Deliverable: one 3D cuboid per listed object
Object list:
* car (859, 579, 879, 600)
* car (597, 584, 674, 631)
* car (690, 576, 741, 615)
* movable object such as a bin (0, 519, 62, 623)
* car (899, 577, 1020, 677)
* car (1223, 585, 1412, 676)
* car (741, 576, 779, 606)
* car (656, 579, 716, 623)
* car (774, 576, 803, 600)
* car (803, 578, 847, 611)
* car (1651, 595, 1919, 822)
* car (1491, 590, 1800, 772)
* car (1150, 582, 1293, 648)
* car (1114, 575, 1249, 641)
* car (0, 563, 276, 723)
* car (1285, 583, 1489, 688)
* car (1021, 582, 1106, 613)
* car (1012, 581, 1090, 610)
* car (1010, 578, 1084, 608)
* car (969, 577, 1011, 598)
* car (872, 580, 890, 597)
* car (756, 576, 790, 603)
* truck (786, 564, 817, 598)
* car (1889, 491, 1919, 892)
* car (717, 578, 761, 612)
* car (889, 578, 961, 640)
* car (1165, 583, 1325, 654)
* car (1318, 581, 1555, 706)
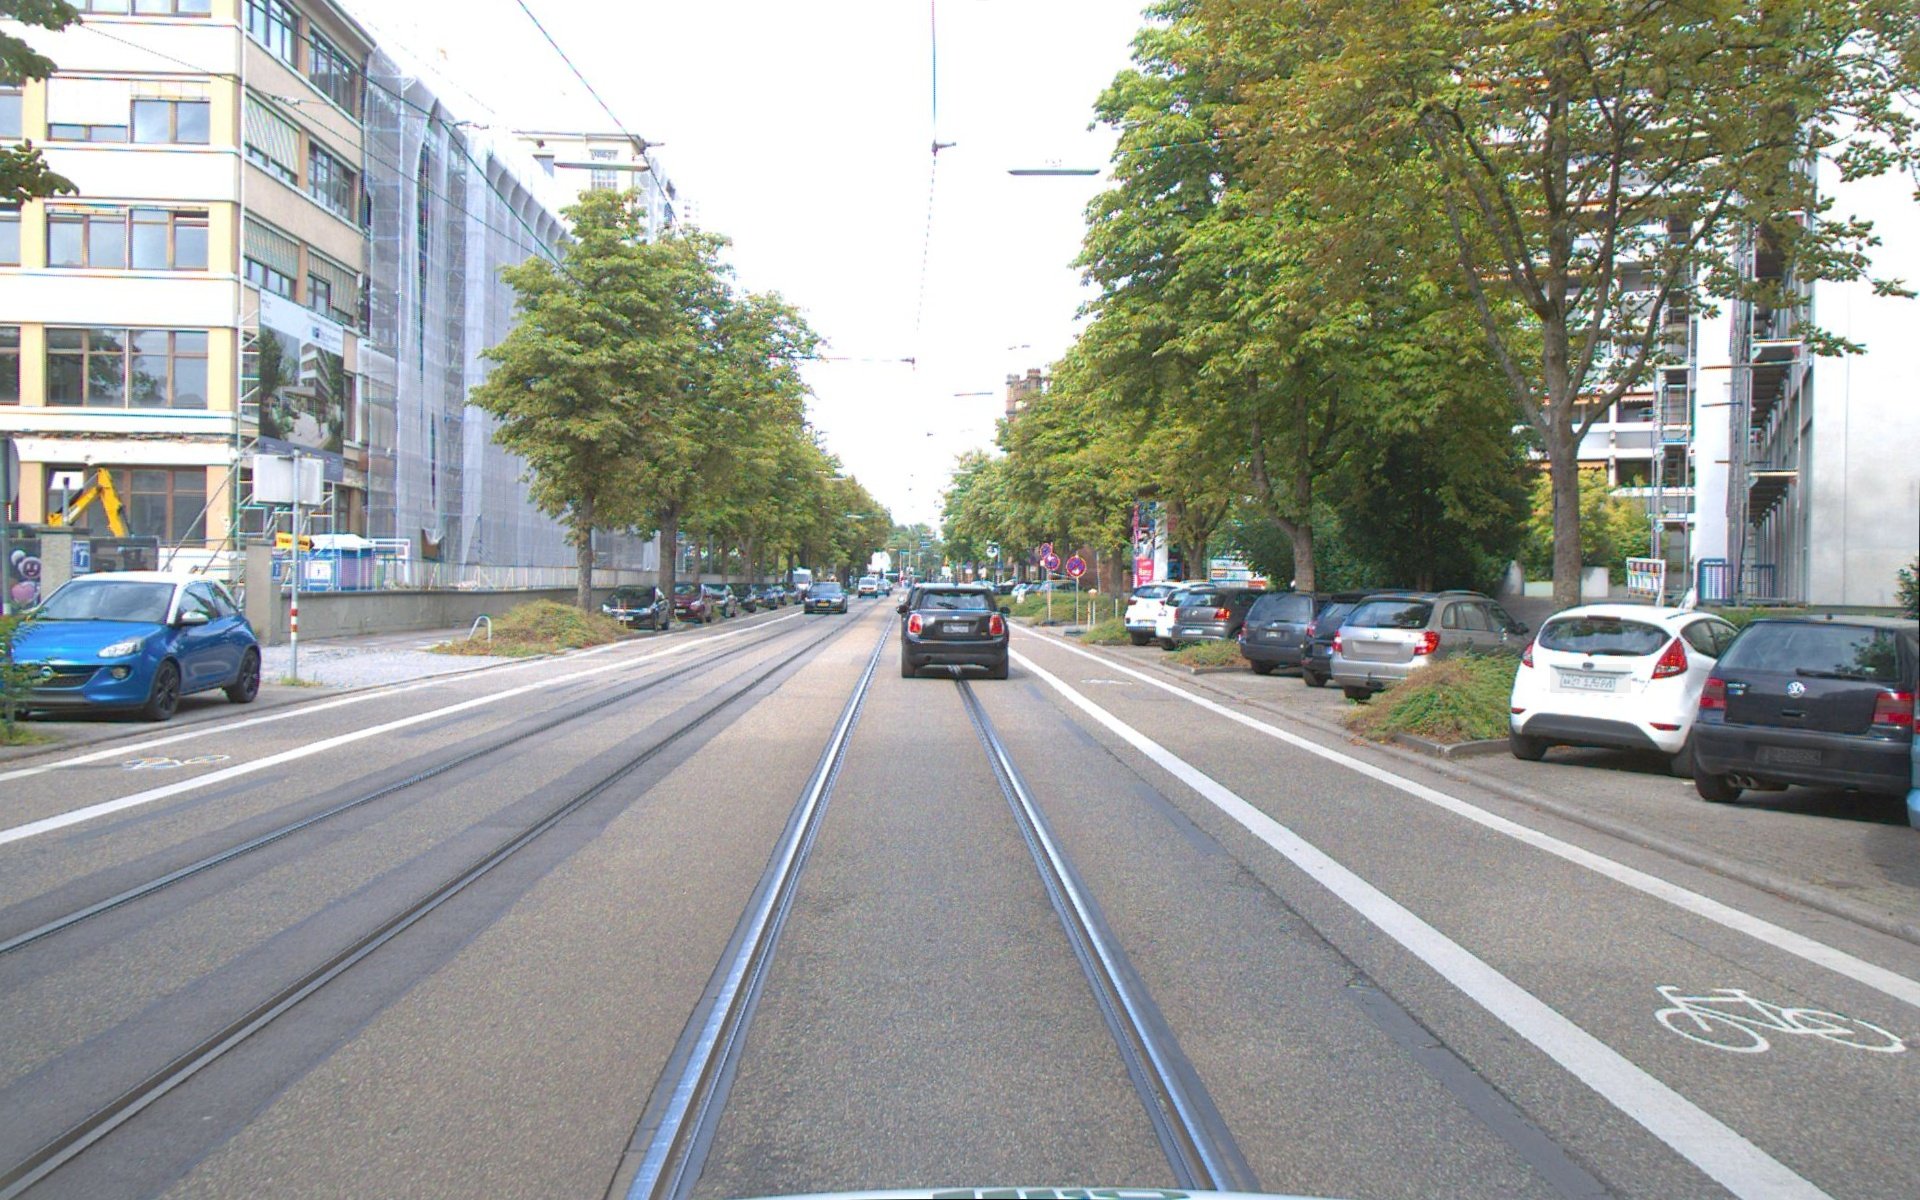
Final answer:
[{"bbox_3d":[-8.261,-0.995,150.250,1.766,1.855,4.482,0,1,-2],"label":"car"},{"bbox_3d":[-10.101,0.195,51.720,1.766,1.398,4.029,0,1,-2],"label":"car"},{"bbox_3d":[-10.469,-0.198,70.975,1.766,1.611,4.029,0,1,-2],"label":"car"},{"bbox_3d":[-20.220,-0.612,34.436,1.945,2.103,1.960,1,0,0],"label":"movable object such as a bin"},{"bbox_3d":[-0.084,0.381,26.650,1.757,1.447,3.998,2,1,-2],"label":"car"},{"bbox_3d":[6.401,0.518,29.378,1.612,1.484,3.716,2,0,43],"label":"car"},{"bbox_3d":[-11.065,-0.527,91.771,1.766,1.611,4.029,0,1,-2],"label":"car"},{"bbox_3d":[-10.249,0.012,62.110,1.766,1.611,4.029,0,1,-2],"label":"car"},{"bbox_3d":[-11.622,-0.827,112.281,1.766,1.611,4.029,0,1,-2],"label":"car"},{"bbox_3d":[-6.243,-0.270,76.813,1.798,1.473,4.551,1,1,-3],"label":"car"},{"bbox_3d":[6.925,0.743,13.016,1.646,1.485,3.807,2,0,41],"label":"car"},{"bbox_3d":[6.633,0.692,15.789,1.611,1.485,3.807,2,0,41],"label":"car"},{"bbox_3d":[6.236,0.343,39.262,3.416,1.468,1.537,1,1,-41],"label":"car"},{"bbox_3d":[5.673,0.191,42.237,3.416,1.600,1.537,1,1,-41],"label":"car"},{"bbox_3d":[-8.963,0.395,17.938,1.659,1.513,3.675,2,1,-3],"label":"car"},{"bbox_3d":[6.937,0.542,26.647,1.612,1.549,3.716,2,0,43],"label":"car"},{"bbox_3d":[5.043,-0.118,80.976,3.909,1.449,1.883,1,1,-5],"label":"car"},{"bbox_3d":[4.839,-0.224,87.872,3.909,1.449,1.883,1,1,-5],"label":"car"},{"bbox_3d":[4.904,-0.402,93.280,3.909,1.656,1.883,1,1,-5],"label":"car"},{"bbox_3d":[2.964,-1.264,165.046,3.909,1.944,1.998,2,1,-5],"label":"car"},{"bbox_3d":[-8.081,-1.201,169.963,1.766,1.650,4.482,0,1,-2],"label":"car"},{"bbox_3d":[-11.378,-0.659,100.880,1.766,1.611,4.029,0,1,-2],"label":"car"},{"bbox_3d":[-11.999,-1.451,125.369,2.029,2.513,4.897,0,0,-2],"label":"truck"},{"bbox_3d":[6.901,0.508,9.486,1.800,2.050,4.248,1,0,43],"label":"car"},{"bbox_3d":[-10.878,-0.256,81.579,1.766,1.611,4.029,0,1,-2],"label":"car"},{"bbox_3d":[-0.971,0.200,44.096,1.758,1.495,3.998,3,1,-3],"label":"car"},{"bbox_3d":[6.261,0.390,36.135,3.503,1.468,1.600,1,1,-41],"label":"car"},{"bbox_3d":[6.565,0.561,22.591,1.612,1.549,3.716,2,0,43],"label":"car"}]
